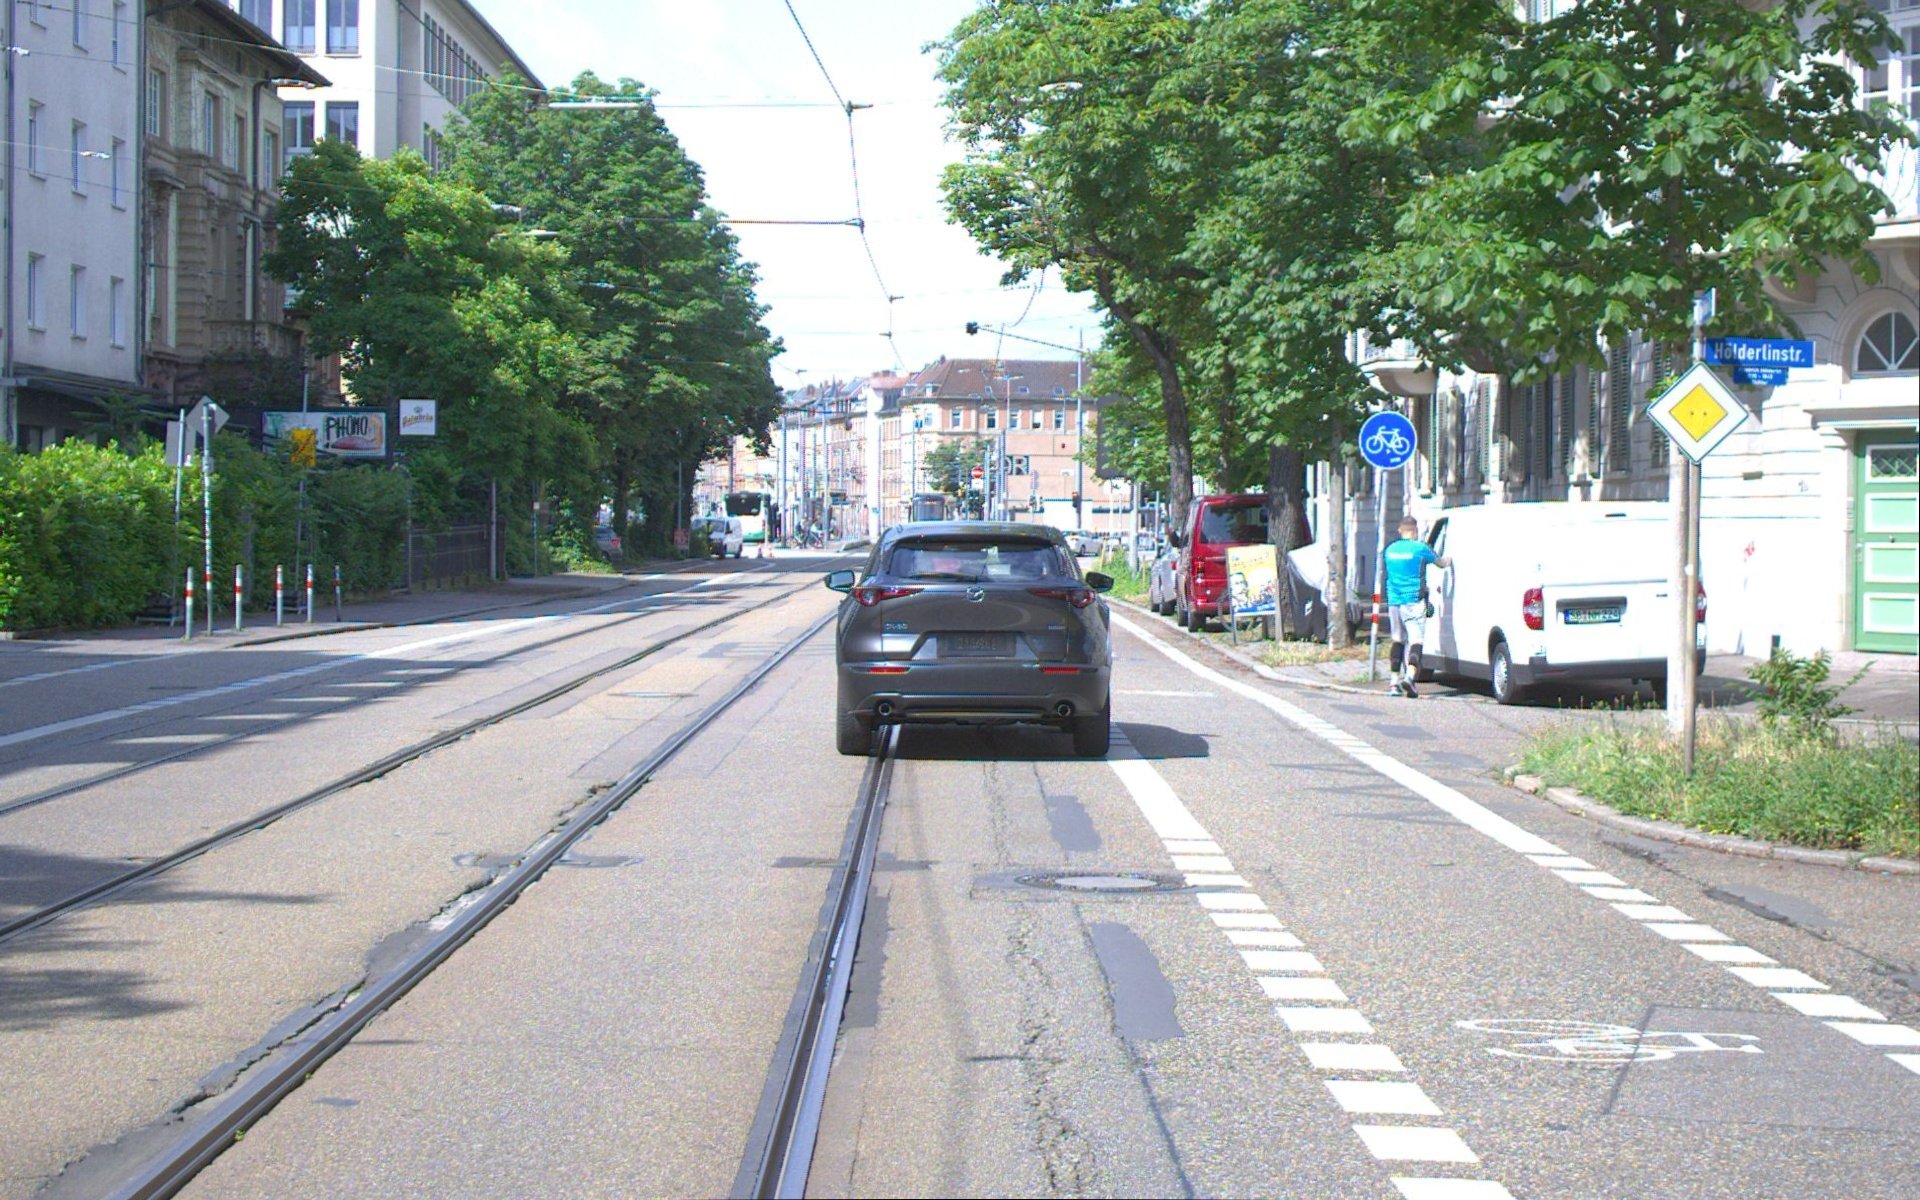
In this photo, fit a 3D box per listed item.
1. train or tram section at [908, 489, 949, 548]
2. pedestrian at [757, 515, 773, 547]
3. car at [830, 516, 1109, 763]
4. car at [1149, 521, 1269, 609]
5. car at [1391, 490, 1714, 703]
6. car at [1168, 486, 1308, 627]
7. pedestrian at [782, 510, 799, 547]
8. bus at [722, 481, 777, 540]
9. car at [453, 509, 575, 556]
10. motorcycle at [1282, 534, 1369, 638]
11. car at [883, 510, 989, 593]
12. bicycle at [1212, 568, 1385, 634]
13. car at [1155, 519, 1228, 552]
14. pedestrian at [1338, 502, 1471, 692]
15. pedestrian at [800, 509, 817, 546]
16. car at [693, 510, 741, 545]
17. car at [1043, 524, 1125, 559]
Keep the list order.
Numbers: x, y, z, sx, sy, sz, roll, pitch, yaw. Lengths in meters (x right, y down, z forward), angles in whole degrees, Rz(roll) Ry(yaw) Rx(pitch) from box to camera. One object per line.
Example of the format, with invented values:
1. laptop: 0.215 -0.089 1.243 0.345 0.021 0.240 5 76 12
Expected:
1. train or tram section: -2.042 -5.421 227.253 2.571 3.759 13.027 0 1 0
2. pedestrian: -9.349 -3.318 164.698 0.751 1.505 0.824 1 1 -5
3. car: 0.038 0.205 23.263 1.720 1.521 3.590 1 1 -1
4. car: 4.220 -0.619 58.689 1.720 1.419 3.590 1 1 -1
5. car: 5.736 -0.102 33.944 1.786 1.932 4.992 1 2 -6
6. car: 4.064 -0.667 50.768 1.720 1.962 4.207 1 1 0
7. pedestrian: -9.339 -3.935 188.969 0.884 2.007 0.618 1 1 -4
8. bus: -12.935 -5.482 210.469 2.688 3.409 11.020 3 1 -6
9. car: -14.263 -2.166 110.059 3.746 1.283 1.611 3 1 -4
10. motorcycle: 4.644 -0.193 43.809 0.794 1.267 2.423 1 1 -1
11. car: -0.496 -0.988 69.186 1.993 1.523 4.000 3 1 -1
12. bicycle: 4.631 0.013 47.089 2.275 0.858 0.672 1 1 -1
13. car: 13.049 -3.636 193.783 3.806 1.612 1.638 2 1 -31
14. pedestrian: 4.373 -0.038 33.813 0.959 1.829 0.818 0 2 -29
15. pedestrian: -8.311 -3.999 188.964 0.884 2.007 0.618 1 1 -4
16. car: -11.753 -3.515 166.387 1.921 1.604 3.937 3 1 0
17. car: 6.332 -2.989 175.848 3.805 1.612 1.638 3 1 -18
